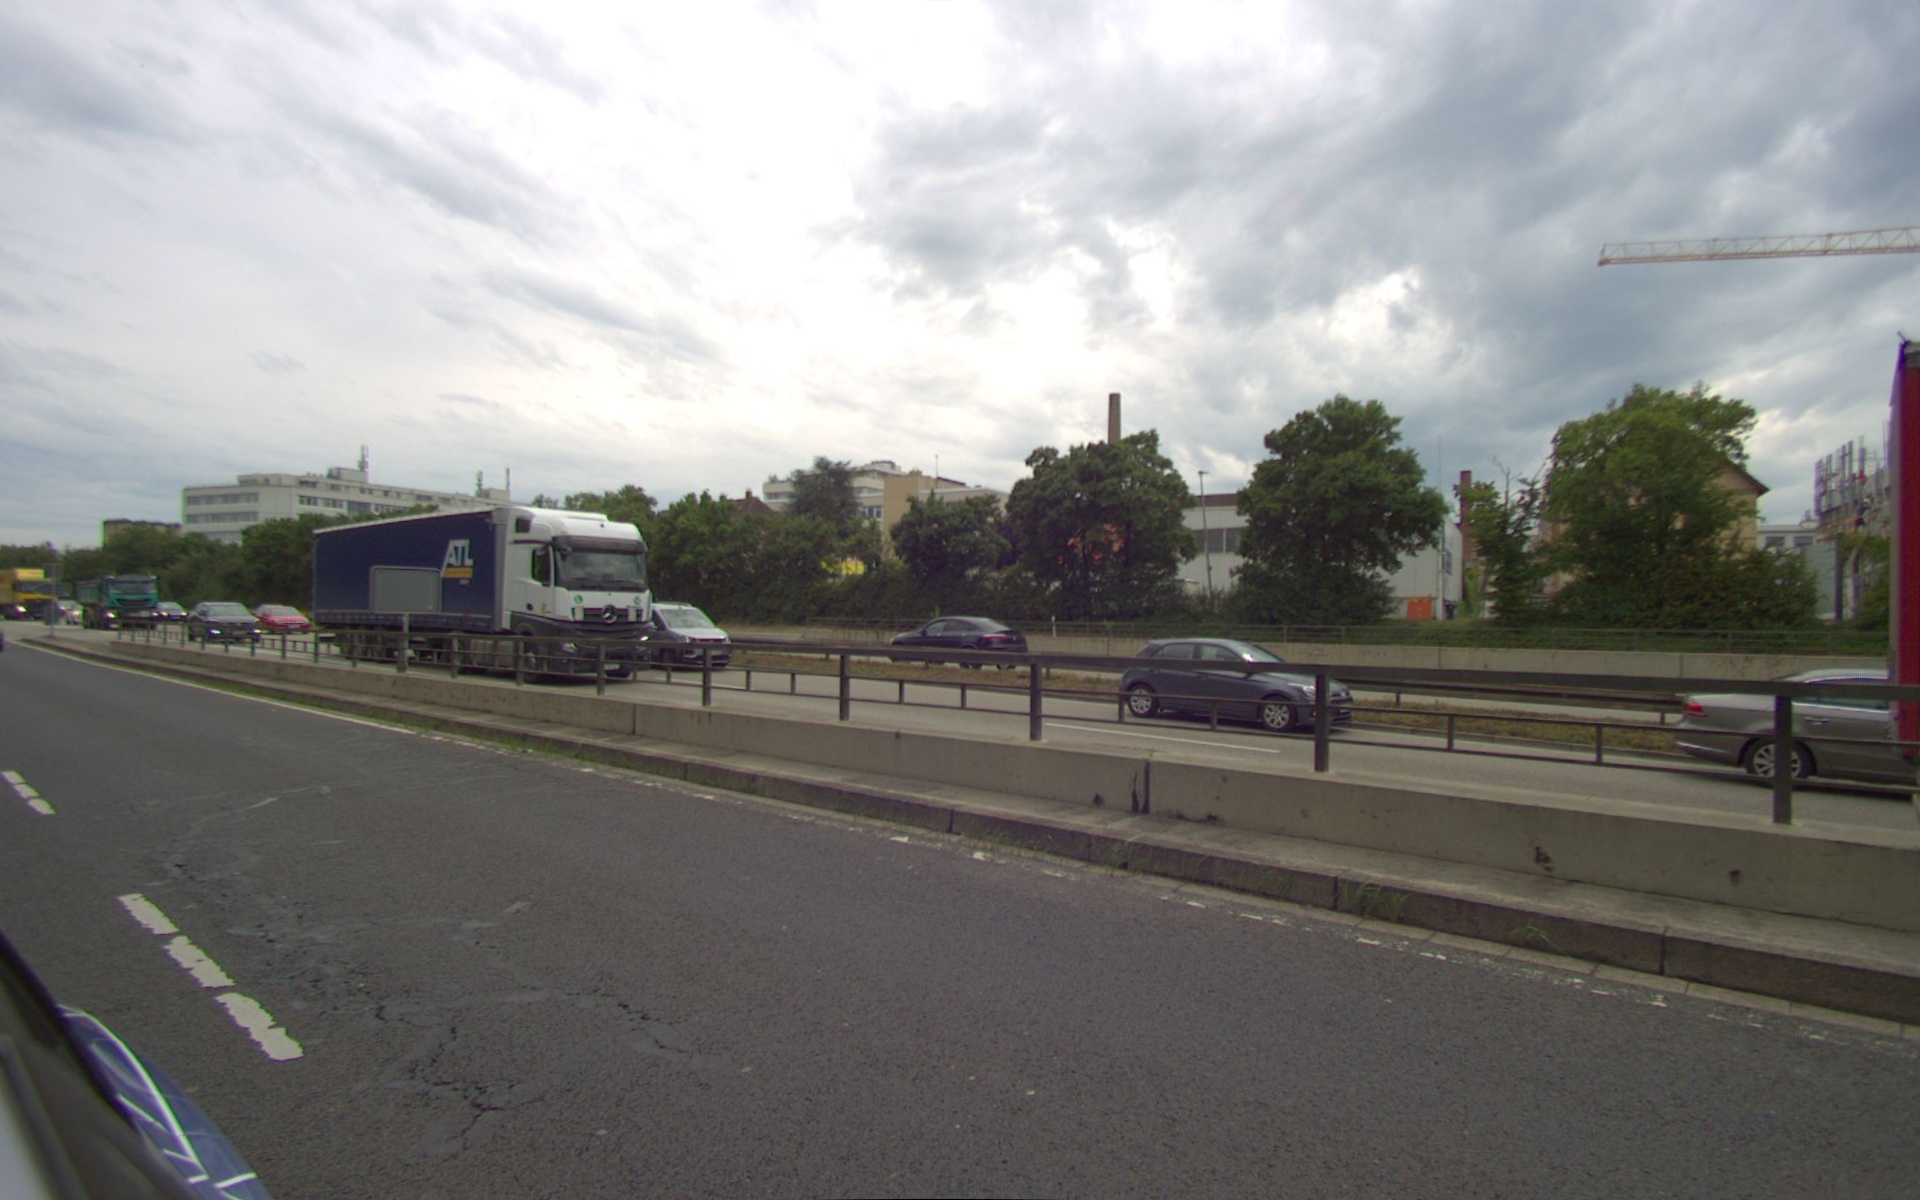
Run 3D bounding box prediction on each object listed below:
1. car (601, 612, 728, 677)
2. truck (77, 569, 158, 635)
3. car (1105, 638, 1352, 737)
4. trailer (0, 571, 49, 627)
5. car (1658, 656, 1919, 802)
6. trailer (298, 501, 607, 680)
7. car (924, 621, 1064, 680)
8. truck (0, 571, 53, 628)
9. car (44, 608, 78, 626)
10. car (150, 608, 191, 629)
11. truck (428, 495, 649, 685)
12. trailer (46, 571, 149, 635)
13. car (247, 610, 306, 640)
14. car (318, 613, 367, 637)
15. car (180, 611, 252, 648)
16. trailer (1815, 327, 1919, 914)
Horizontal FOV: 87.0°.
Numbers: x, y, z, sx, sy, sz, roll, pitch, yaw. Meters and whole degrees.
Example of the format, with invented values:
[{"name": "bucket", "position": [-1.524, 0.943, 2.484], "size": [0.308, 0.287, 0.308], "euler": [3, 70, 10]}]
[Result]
[{"name": "car", "position": [-8.396, 1.205, 28.577], "size": [3.895, 1.682, 1.606], "euler": [-1, 0, 41]}, {"name": "truck", "position": [-49.357, 0.172, 59.246], "size": [6.665, 3.663, 2.611], "euler": [-1, -2, 41]}, {"name": "car", "position": [4.652, 1.445, 17.808], "size": [3.895, 1.452, 1.607], "euler": [0, -2, 41]}, {"name": "trailer", "position": [-82.126, 0.035, 87.334], "size": [19.914, 4.387, 2.860], "euler": [0, -2, 42]}, {"name": "car", "position": [10.746, 1.485, 11.968], "size": [3.898, 1.452, 1.605], "euler": [-1, 0, 44]}, {"name": "trailer", "position": [-15.046, -0.140, 28.811], "size": [14.778, 4.067, 2.498], "euler": [0, -2, 42]}, {"name": "car", "position": [0.933, 1.393, 28.983], "size": [3.895, 1.523, 1.606], "euler": [-1, 0, 41]}, {"name": "truck", "position": [-75.382, -0.019, 81.375], "size": [6.516, 4.377, 2.855], "euler": [-1, -2, 41]}, {"name": "car", "position": [-82.746, 1.547, 93.130], "size": [4.420, 1.575, 1.761], "euler": [-1, 0, 41]}, {"name": "car", "position": [-56.795, 1.334, 72.770], "size": [3.998, 1.452, 1.606], "euler": [-1, 0, 41]}, {"name": "truck", "position": [-10.364, -0.160, 24.632], "size": [6.094, 4.067, 2.498], "euler": [-1, -2, 41]}, {"name": "trailer", "position": [-54.870, 0.247, 64.134], "size": [16.743, 3.668, 2.579], "euler": [0, -2, 42]}, {"name": "car", "position": [-35.391, 1.256, 52.360], "size": [3.998, 1.452, 1.606], "euler": [-1, 0, 41]}, {"name": "car", "position": [-40.833, 1.612, 66.913], "size": [3.895, 1.523, 1.711], "euler": [-1, 0, 41]}, {"name": "car", "position": [-30.994, 1.201, 42.140], "size": [3.998, 1.452, 1.606], "euler": [-1, 0, 41]}, {"name": "trailer", "position": [12.545, 0.120, 3.533], "size": [14.549, 4.067, 2.623], "euler": [0, -2, 42]}]
